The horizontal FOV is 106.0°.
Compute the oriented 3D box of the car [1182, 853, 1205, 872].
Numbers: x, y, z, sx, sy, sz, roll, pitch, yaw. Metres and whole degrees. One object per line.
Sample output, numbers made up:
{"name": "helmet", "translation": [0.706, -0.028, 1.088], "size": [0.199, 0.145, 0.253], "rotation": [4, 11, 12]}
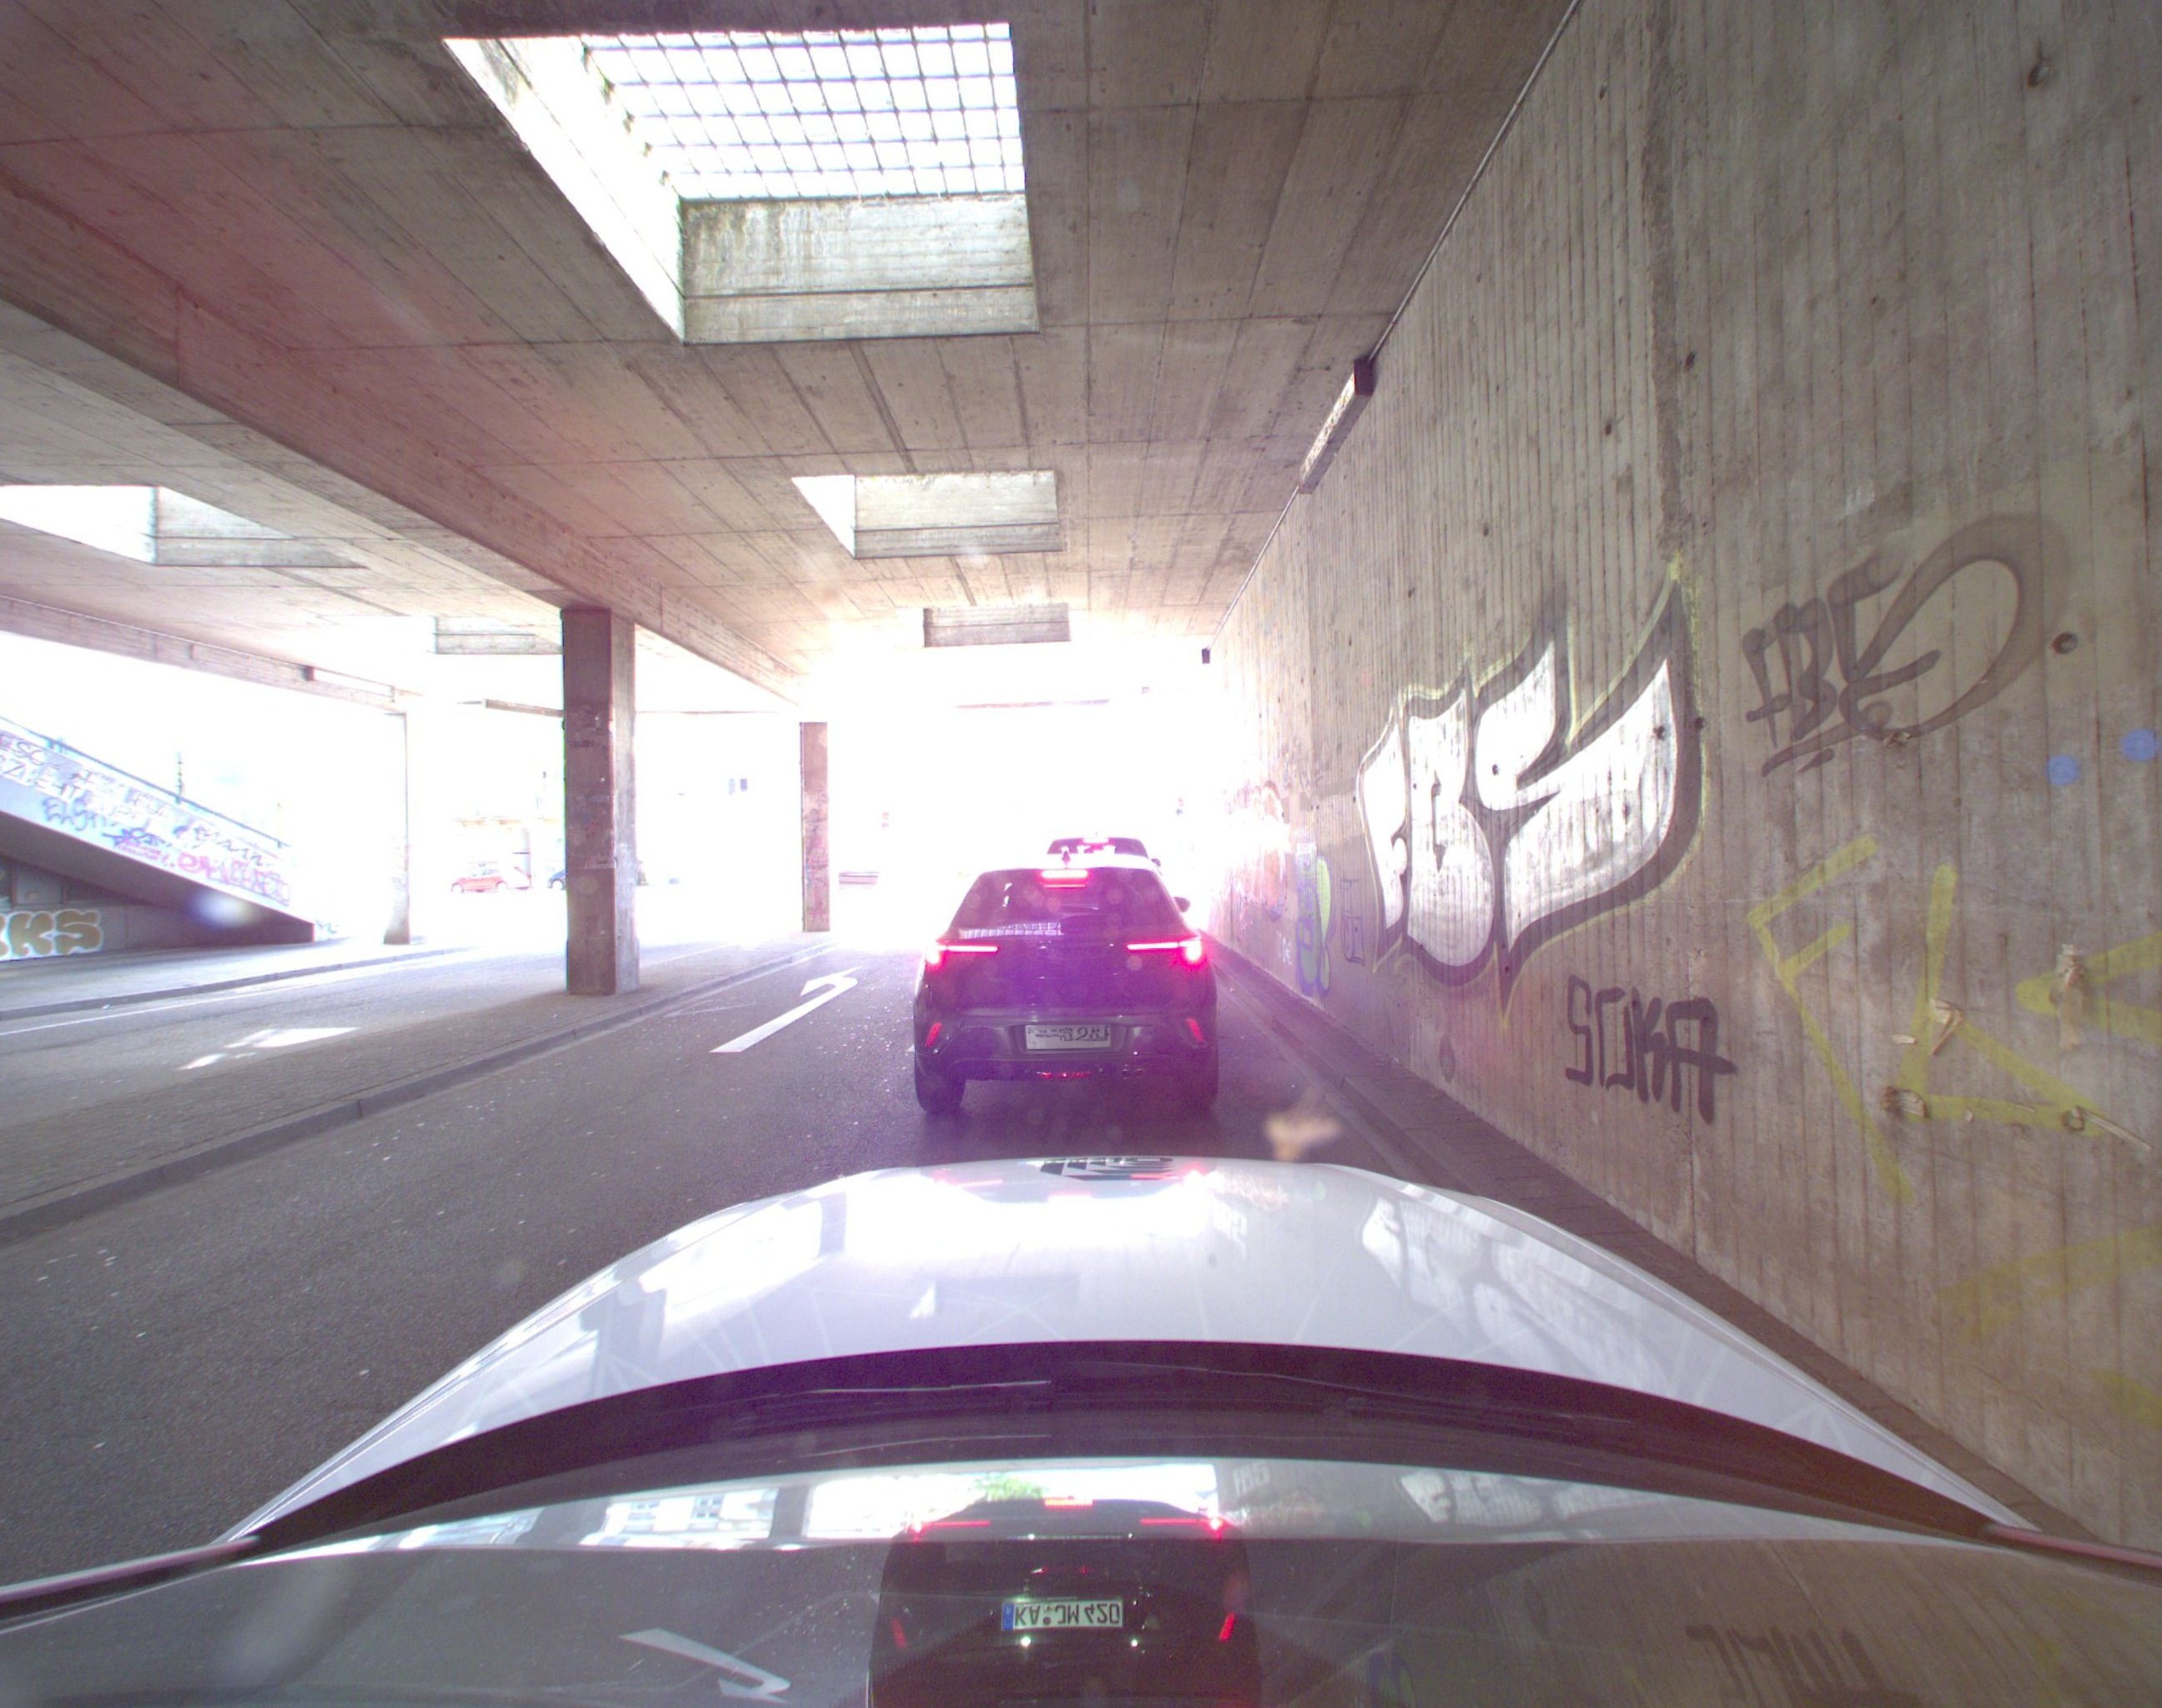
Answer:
{"name": "car", "translation": [10.566, 0.803, 76.699], "size": [1.983, 1.641, 4.601], "rotation": [-2, 0, 6]}

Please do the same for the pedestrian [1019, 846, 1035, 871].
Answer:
{"name": "pedestrian", "translation": [-3.397, 0.266, 51.656], "size": [0.729, 1.585, 0.894], "rotation": [0, -1, 18]}

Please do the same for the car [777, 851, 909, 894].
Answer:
{"name": "car", "translation": [-9.412, 0.725, 32.558], "size": [4.709, 1.534, 1.997], "rotation": [-1, 0, -4]}

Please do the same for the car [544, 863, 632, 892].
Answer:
{"name": "car", "translation": [-27.350, 1.289, 45.282], "size": [3.742, 1.508, 1.752], "rotation": [-2, 0, 0]}

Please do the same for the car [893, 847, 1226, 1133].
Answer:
{"name": "car", "translation": [-0.039, 0.713, 6.279], "size": [1.746, 1.498, 4.002], "rotation": [0, 0, 2]}

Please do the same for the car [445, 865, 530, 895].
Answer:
{"name": "car", "translation": [-32.845, 1.439, 45.117], "size": [3.519, 1.506, 1.563], "rotation": [-1, 0, 2]}

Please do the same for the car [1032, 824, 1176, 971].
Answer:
{"name": "car", "translation": [0.357, 0.541, 12.164], "size": [1.779, 1.833, 3.962], "rotation": [-1, 0, 2]}

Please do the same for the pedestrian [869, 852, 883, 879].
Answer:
{"name": "pedestrian", "translation": [-12.768, 0.723, 50.706], "size": [0.619, 1.705, 0.725], "rotation": [0, -1, 8]}

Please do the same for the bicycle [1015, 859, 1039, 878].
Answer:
{"name": "bicycle", "translation": [-3.413, 0.901, 51.569], "size": [0.730, 1.130, 2.036], "rotation": [-2, 0, 19]}

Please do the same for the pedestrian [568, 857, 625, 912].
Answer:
{"name": "pedestrian", "translation": [-16.064, 1.000, 27.028], "size": [1.103, 1.737, 1.146], "rotation": [-1, 0, 15]}

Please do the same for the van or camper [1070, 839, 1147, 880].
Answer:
{"name": "van or camper", "translation": [1.492, 0.285, 43.599], "size": [3.854, 2.013, 2.005], "rotation": [-1, 0, 9]}
